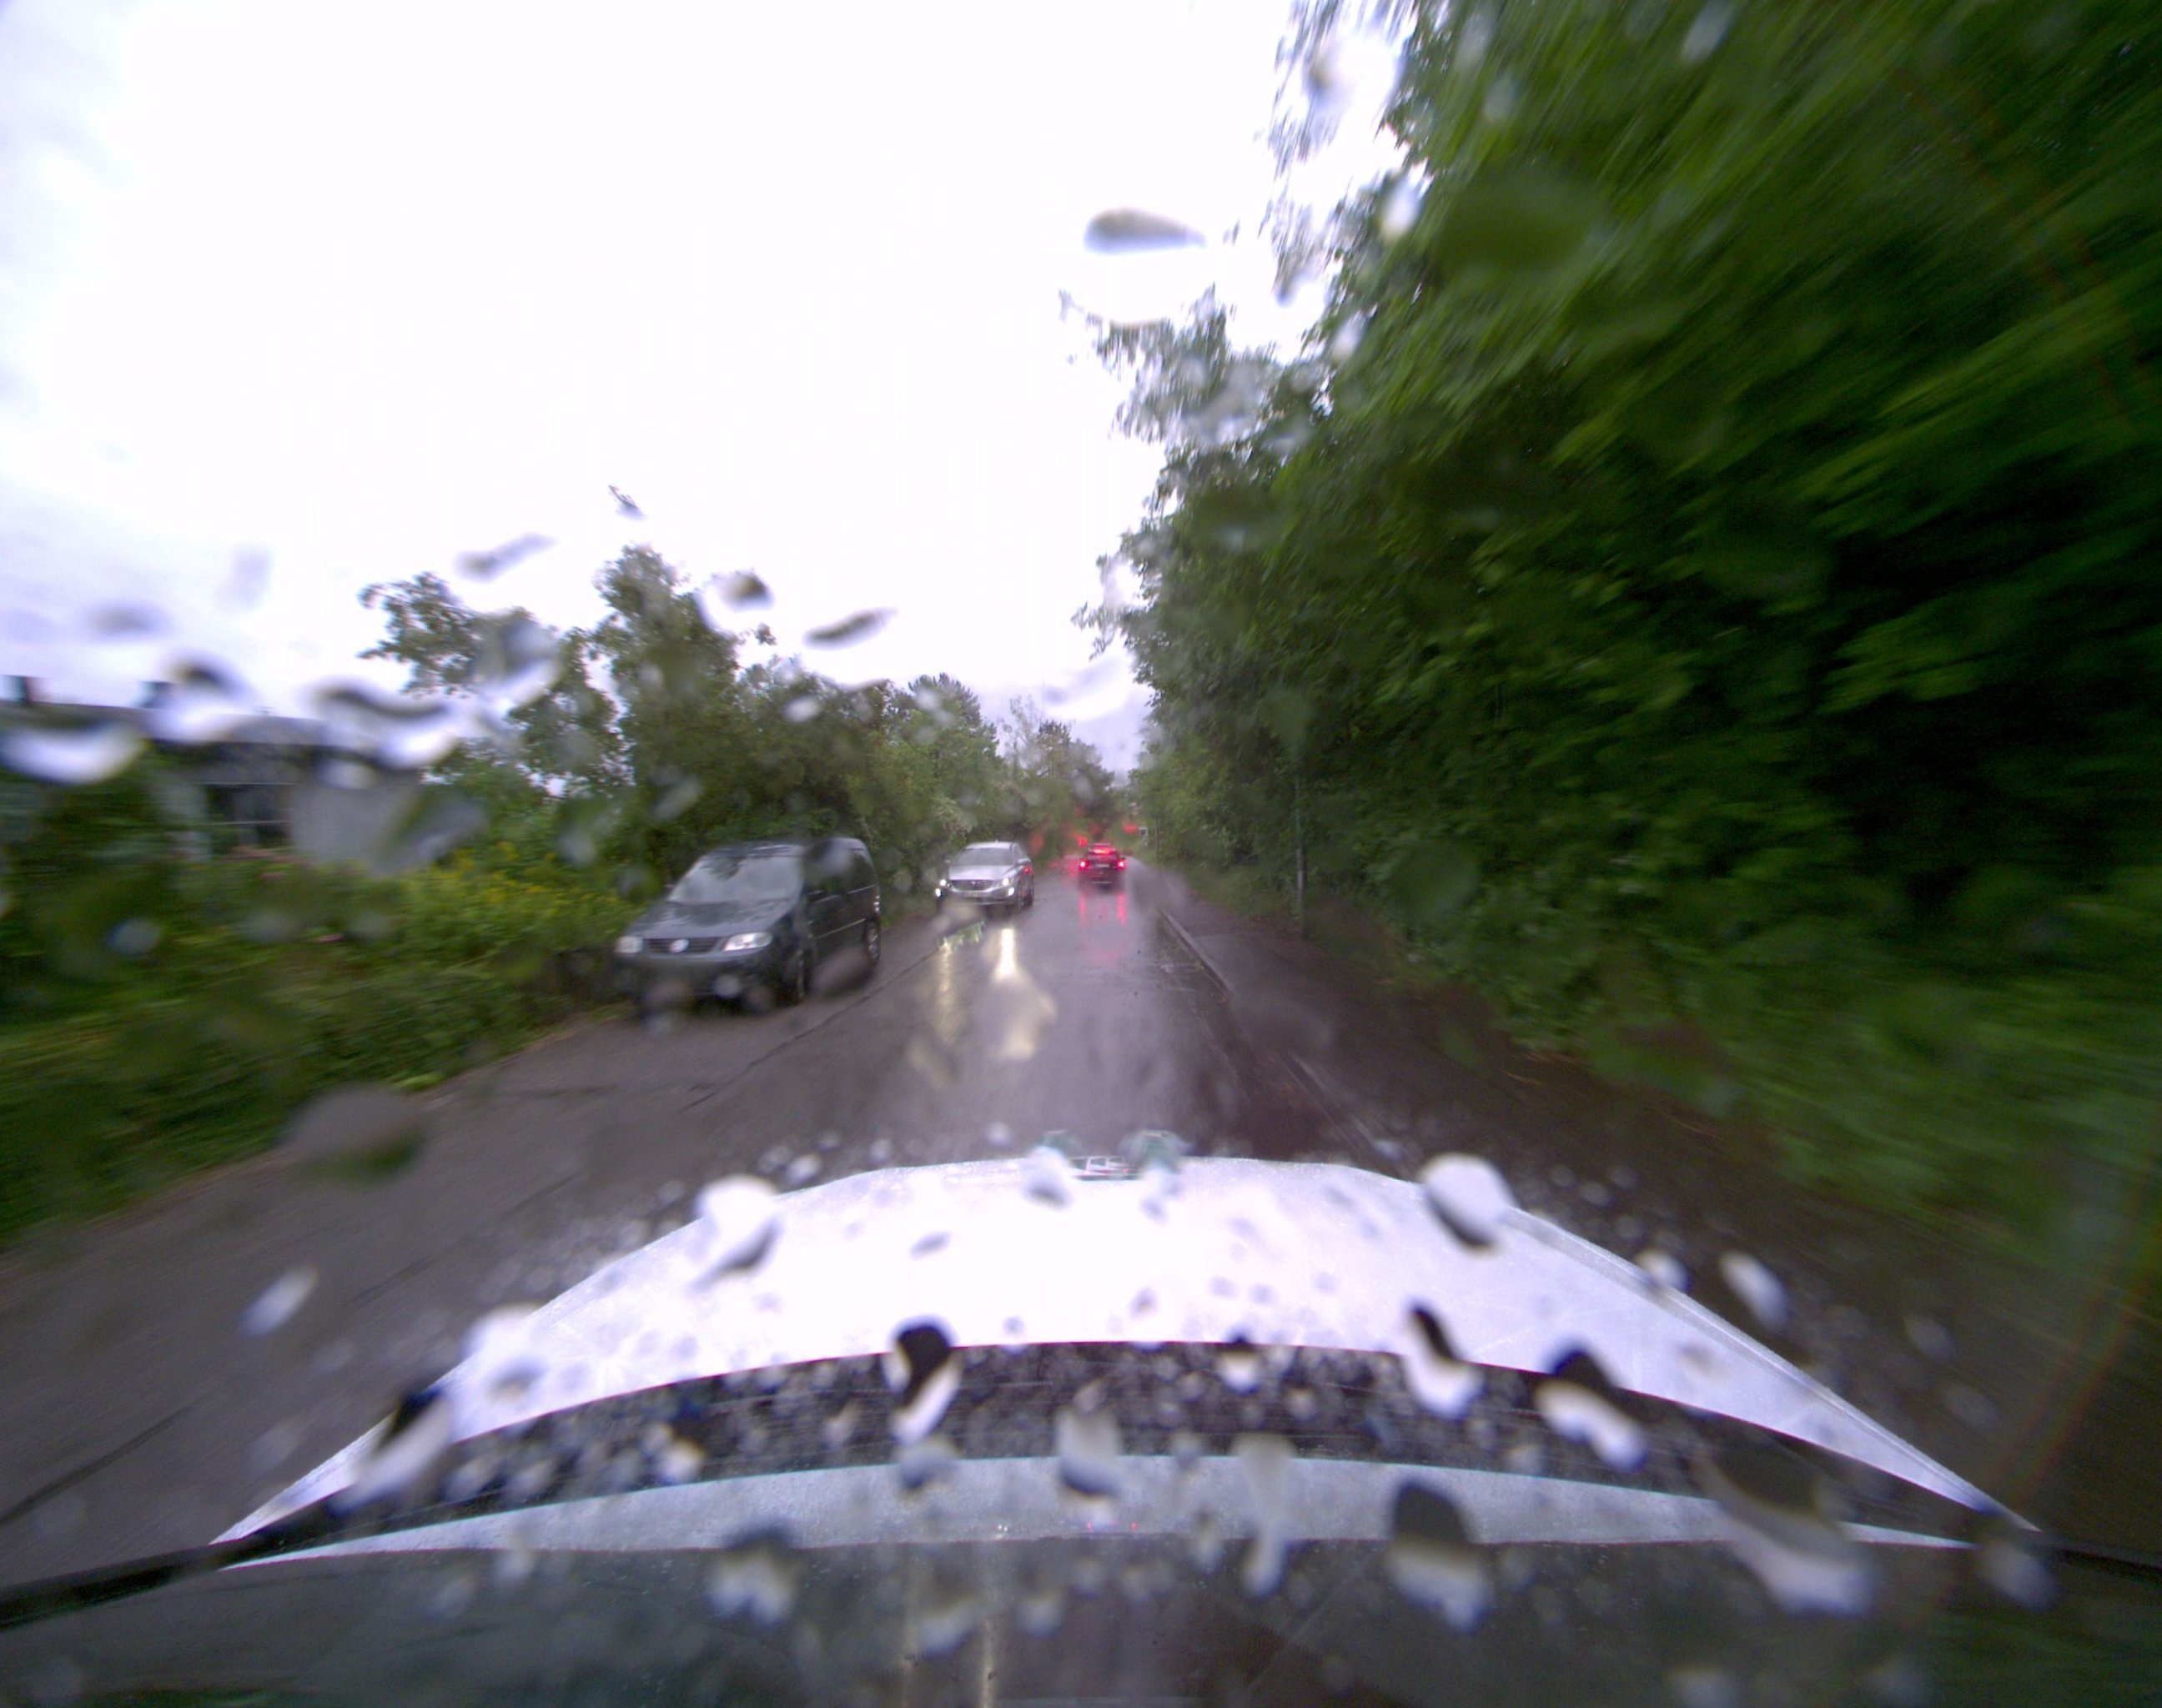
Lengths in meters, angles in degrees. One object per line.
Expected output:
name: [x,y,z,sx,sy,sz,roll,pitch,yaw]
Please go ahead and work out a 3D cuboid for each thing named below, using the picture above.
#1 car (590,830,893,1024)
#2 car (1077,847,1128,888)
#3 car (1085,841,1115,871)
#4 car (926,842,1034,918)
car: [-3.706,0.664,9.831,1.683,1.782,4.235,-2,1,2]
car: [0.776,0.476,31.673,1.695,1.450,3.997,-2,0,-2]
car: [1.227,0.160,53.798,1.857,1.744,3.999,-1,-4,1]
car: [-2.326,0.538,19.851,2.041,1.601,4.230,0,2,1]
